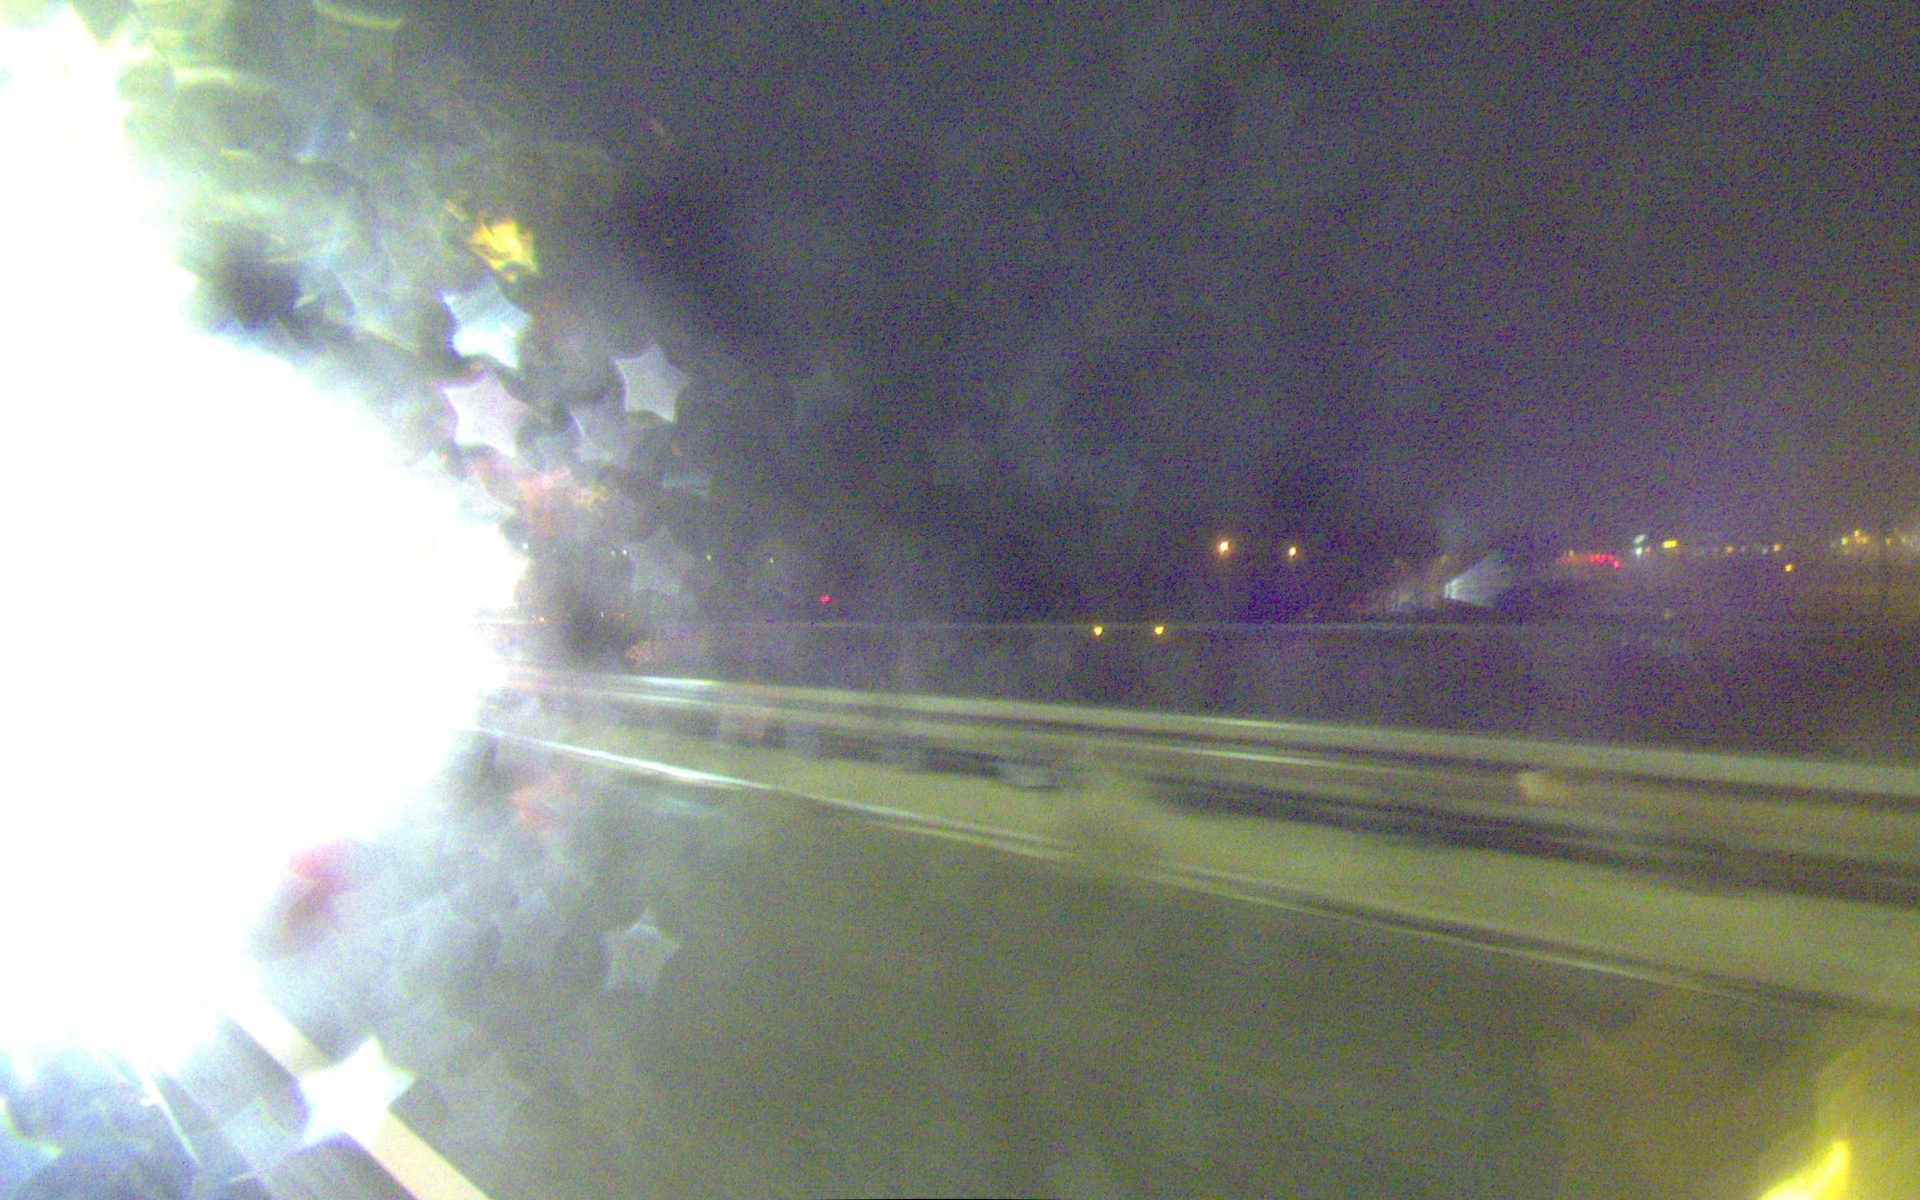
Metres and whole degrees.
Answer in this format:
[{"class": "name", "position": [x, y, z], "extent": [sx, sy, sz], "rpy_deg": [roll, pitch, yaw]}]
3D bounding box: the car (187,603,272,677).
[{"class": "car", "position": [-20.071, 1.088, 27.853], "extent": [1.730, 1.875, 4.010], "rpy_deg": [2, -3, -35]}]

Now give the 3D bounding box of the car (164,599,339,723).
[{"class": "car", "position": [-11.865, 0.905, 16.794], "extent": [1.997, 1.732, 4.990], "rpy_deg": [0, -1, -40]}]

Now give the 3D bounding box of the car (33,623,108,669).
[{"class": "car", "position": [-32.166, 1.644, 36.669], "extent": [1.498, 1.537, 3.116], "rpy_deg": [-1, -1, -31]}]

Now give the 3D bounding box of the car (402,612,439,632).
[{"class": "car", "position": [-50.715, 2.084, 95.218], "extent": [1.972, 1.687, 4.628], "rpy_deg": [-1, -2, -12]}]

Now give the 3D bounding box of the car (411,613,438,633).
[{"class": "car", "position": [-45.246, 1.947, 85.583], "extent": [1.450, 1.597, 3.200], "rpy_deg": [-1, -2, -17]}]

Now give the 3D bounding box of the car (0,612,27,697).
[{"class": "car", "position": [-24.544, 1.336, 24.776], "extent": [1.967, 2.029, 4.010], "rpy_deg": [-1, 0, -35]}]

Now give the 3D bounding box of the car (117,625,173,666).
[{"class": "car", "position": [-36.479, 2.005, 45.369], "extent": [1.284, 1.540, 3.056], "rpy_deg": [-5, 3, -28]}]

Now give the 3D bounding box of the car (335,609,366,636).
[{"class": "car", "position": [-46.478, 1.716, 77.241], "extent": [1.521, 2.029, 4.013], "rpy_deg": [0, -1, -23]}]

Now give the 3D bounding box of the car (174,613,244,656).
[{"class": "car", "position": [-44.704, 2.016, 60.344], "extent": [1.967, 2.027, 4.013], "rpy_deg": [-6, 5, -18]}]
